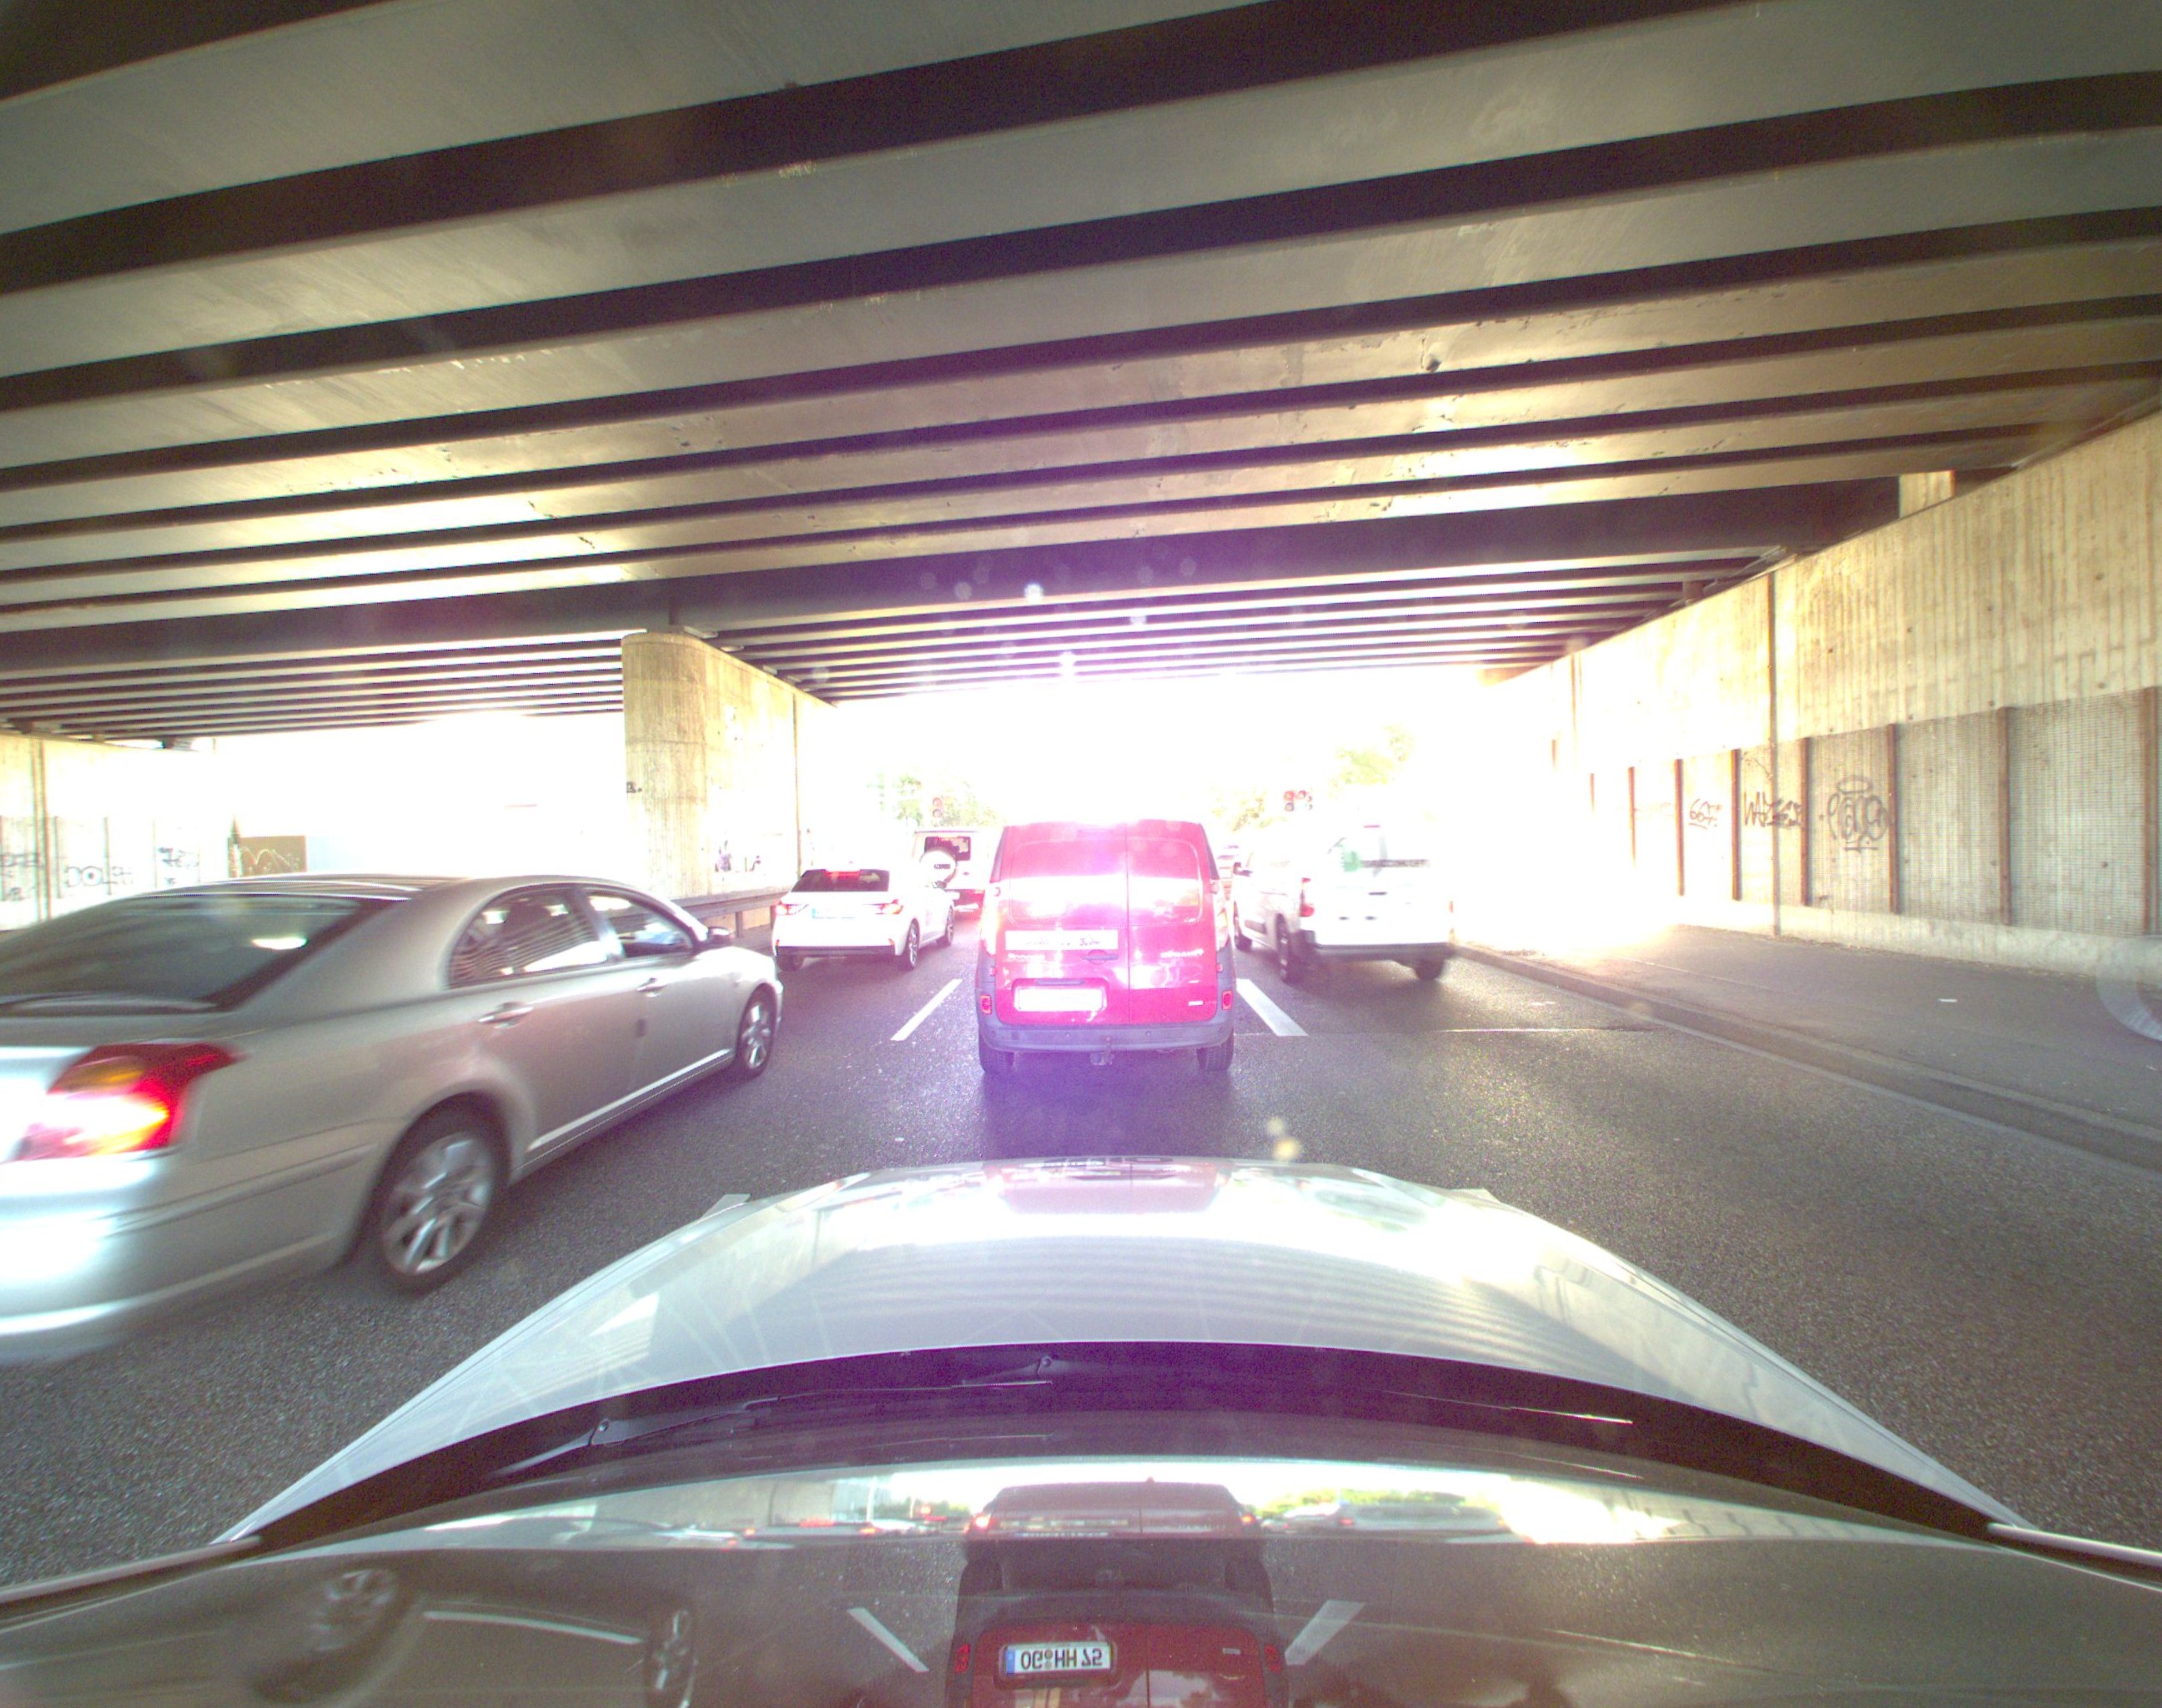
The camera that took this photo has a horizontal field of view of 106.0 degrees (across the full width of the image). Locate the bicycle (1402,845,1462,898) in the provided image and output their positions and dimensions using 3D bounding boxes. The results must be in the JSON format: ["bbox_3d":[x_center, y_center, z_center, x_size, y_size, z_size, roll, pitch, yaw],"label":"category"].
[{"bbox_3d":[7.862,0.381,18.318,0.678,1.113,1.604,-1,0,1],"label":"bicycle"}]

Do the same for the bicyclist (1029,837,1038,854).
[{"bbox_3d":[-3.759,-0.667,64.298,0.651,1.329,0.602,0,-1,-2],"label":"bicyclist"}]

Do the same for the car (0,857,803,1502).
[{"bbox_3d":[-3.026,0.764,4.073,1.691,1.455,4.398,0,0,1],"label":"car"}]

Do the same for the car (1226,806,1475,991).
[{"bbox_3d":[3.115,0.419,10.422,1.807,1.833,4.301,-2,1,1],"label":"car"}]

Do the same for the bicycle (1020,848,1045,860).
[{"bbox_3d":[-3.840,-0.016,64.302,1.908,0.867,0.605,-1,0,-2],"label":"bicycle"}]

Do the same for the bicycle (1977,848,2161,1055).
[{"bbox_3d":[6.610,0.569,4.418,0.762,1.146,2.470,-4,0,1],"label":"bicycle"}]

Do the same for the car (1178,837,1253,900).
[{"bbox_3d":[3.787,0.375,23.521,1.770,1.655,3.994,0,0,3],"label":"car"}]

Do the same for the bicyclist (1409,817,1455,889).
[{"bbox_3d":[7.843,-0.011,18.216,0.667,1.561,0.735,-2,-1,1],"label":"bicyclist"}]

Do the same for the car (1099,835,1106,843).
[{"bbox_3d":[5.814,-4.042,220.928,1.986,2.014,4.001,0,0,2],"label":"car"}]

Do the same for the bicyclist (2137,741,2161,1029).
[{"bbox_3d":[6.580,0.177,4.341,0.744,1.655,0.886,0,-1,1],"label":"bicyclist"}]

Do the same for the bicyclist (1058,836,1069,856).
[{"bbox_3d":[-1.402,-0.609,64.634,0.752,1.542,0.697,-1,0,2],"label":"bicyclist"}]

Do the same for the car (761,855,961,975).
[{"bbox_3d":[-2.925,0.735,11.681,1.686,1.410,3.815,0,0,2],"label":"car"}]

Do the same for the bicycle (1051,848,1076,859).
[{"bbox_3d":[-1.395,-0.047,64.636,1.945,0.874,0.700,-1,0,2],"label":"bicycle"}]

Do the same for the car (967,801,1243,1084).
[{"bbox_3d":[0.213,0.550,7.098,1.712,1.764,4.002,0,0,2],"label":"car"}]

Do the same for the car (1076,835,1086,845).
[{"bbox_3d":[-0.004,-2.785,166.680,1.986,2.014,4.001,0,0,2],"label":"car"}]

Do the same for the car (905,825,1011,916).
[{"bbox_3d":[-2.757,0.348,19.079,1.807,1.904,3.814,0,0,1],"label":"car"}]
